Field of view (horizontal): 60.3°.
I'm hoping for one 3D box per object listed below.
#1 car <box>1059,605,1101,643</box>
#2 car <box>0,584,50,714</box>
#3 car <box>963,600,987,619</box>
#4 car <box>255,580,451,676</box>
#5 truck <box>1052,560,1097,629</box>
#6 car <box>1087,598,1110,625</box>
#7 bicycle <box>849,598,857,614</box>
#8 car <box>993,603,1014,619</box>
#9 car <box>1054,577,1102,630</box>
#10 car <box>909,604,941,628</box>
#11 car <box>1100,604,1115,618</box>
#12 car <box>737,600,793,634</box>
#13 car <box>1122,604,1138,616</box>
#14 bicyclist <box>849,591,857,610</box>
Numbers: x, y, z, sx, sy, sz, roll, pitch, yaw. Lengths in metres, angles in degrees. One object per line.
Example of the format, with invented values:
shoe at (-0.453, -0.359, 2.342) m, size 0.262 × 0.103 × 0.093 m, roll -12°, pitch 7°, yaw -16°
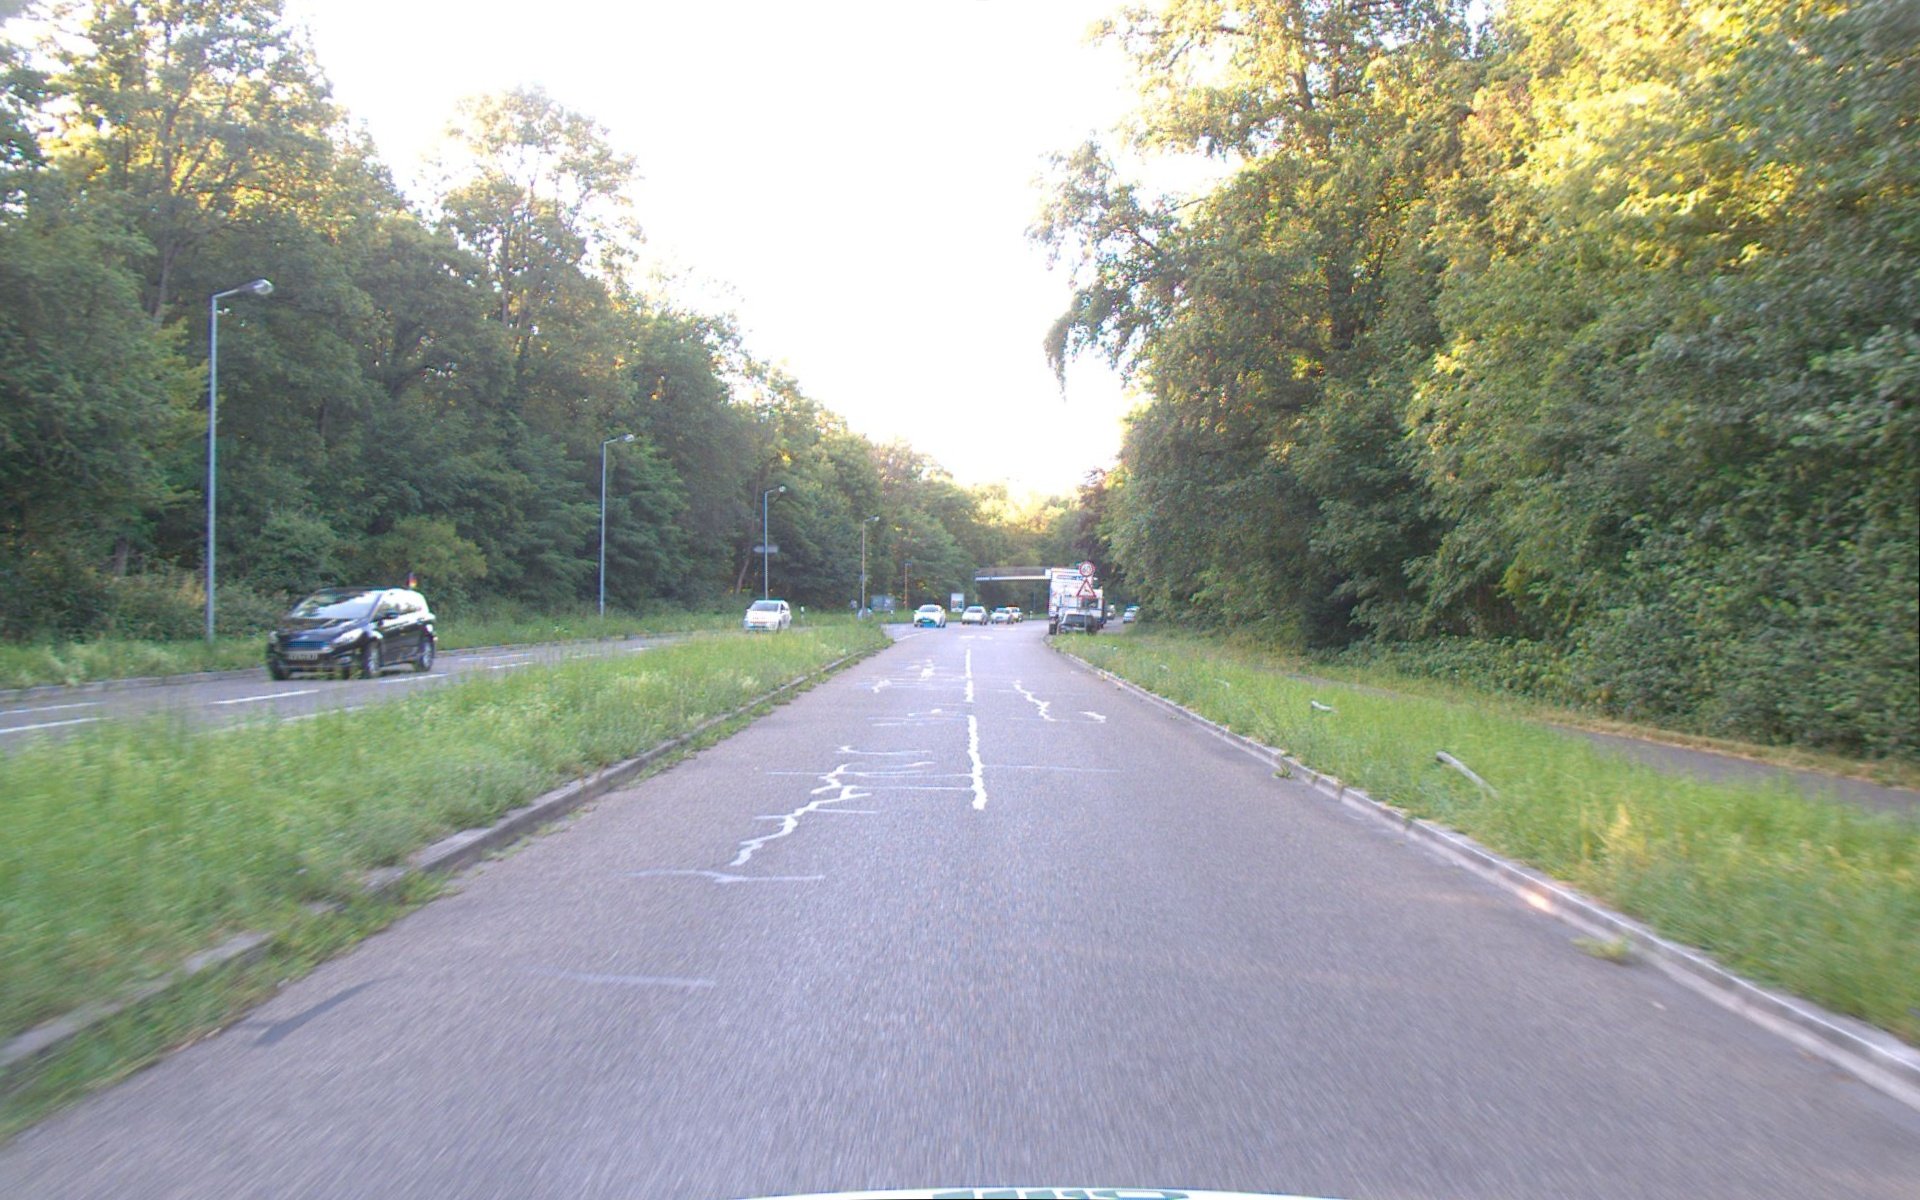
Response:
car at (4.990, 0.984, 69.149) m, size 1.629 × 1.430 × 3.943 m, roll 3°, pitch 0°, yaw 3°
car at (-12.021, 0.584, 18.076) m, size 1.786 × 1.506 × 4.232 m, roll -1°, pitch 0°, yaw 0°
car at (1.255, 0.772, 136.501) m, size 1.680 × 1.471 × 4.175 m, roll 1°, pitch 0°, yaw 4°
car at (-11.299, 0.492, 31.162) m, size 1.953 × 1.656 × 4.651 m, roll -1°, pitch 0°, yaw 0°
truck at (7.233, -0.317, 103.769) m, size 2.602 × 4.098 × 9.727 m, roll 1°, pitch 0°, yaw 4°
car at (13.011, 1.094, 155.287) m, size 1.951 × 2.452 × 5.827 m, roll 0°, pitch -2°, yaw 7°
bicycle at (-8.488, 0.482, 131.230) m, size 0.617 × 1.239 × 2.260 m, roll 0°, pitch 0°, yaw -3°
car at (3.983, 1.012, 151.294) m, size 1.683 × 1.422 × 4.377 m, roll 1°, pitch 0°, yaw 5°
car at (6.793, 0.222, 95.511) m, size 2.359 × 2.908 × 5.933 m, roll 2°, pitch 0°, yaw 1°
car at (-2.296, 1.070, 110.834) m, size 1.797 × 1.534 × 3.939 m, roll 0°, pitch -2°, yaw 4°
car at (20.503, 1.468, 230.140) m, size 1.951 × 1.870 × 4.003 m, roll 1°, pitch 0°, yaw 6°
car at (-8.798, 0.782, 74.969) m, size 1.952 × 1.483 × 3.811 m, roll 0°, pitch -2°, yaw 2°
car at (20.477, 1.211, 198.622) m, size 1.851 × 1.473 × 4.113 m, roll 1°, pitch 0°, yaw 7°
bicyclist at (-8.485, 0.034, 131.211) m, size 0.607 × 1.537 × 0.847 m, roll 0°, pitch 1°, yaw -4°
